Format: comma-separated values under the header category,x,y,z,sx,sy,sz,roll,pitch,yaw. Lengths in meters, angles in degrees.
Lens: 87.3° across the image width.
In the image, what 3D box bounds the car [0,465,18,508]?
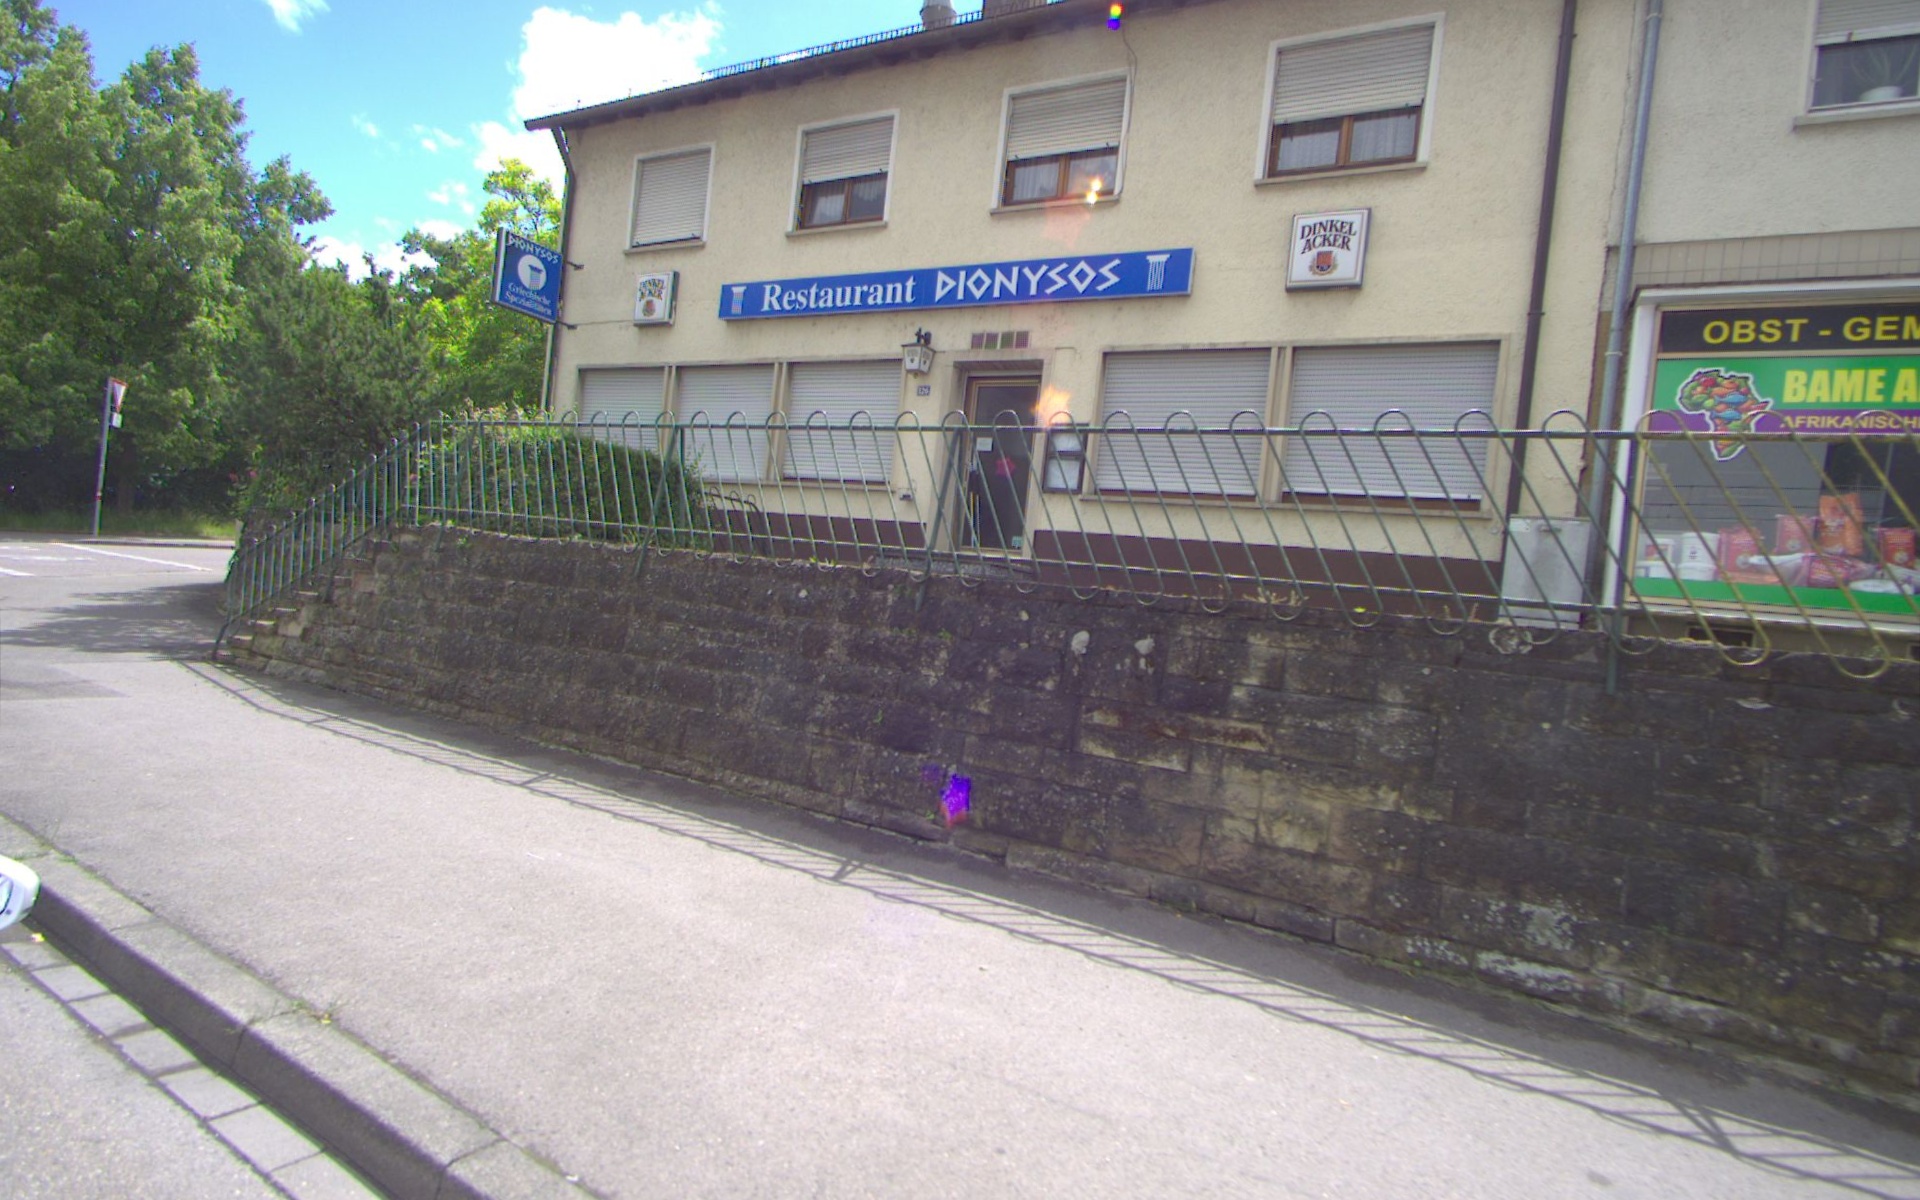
category,x,y,z,sx,sy,sz,roll,pitch,yaw
car,-37.391,-4.421,38.049,3.602,1.520,1.661,6,2,32
